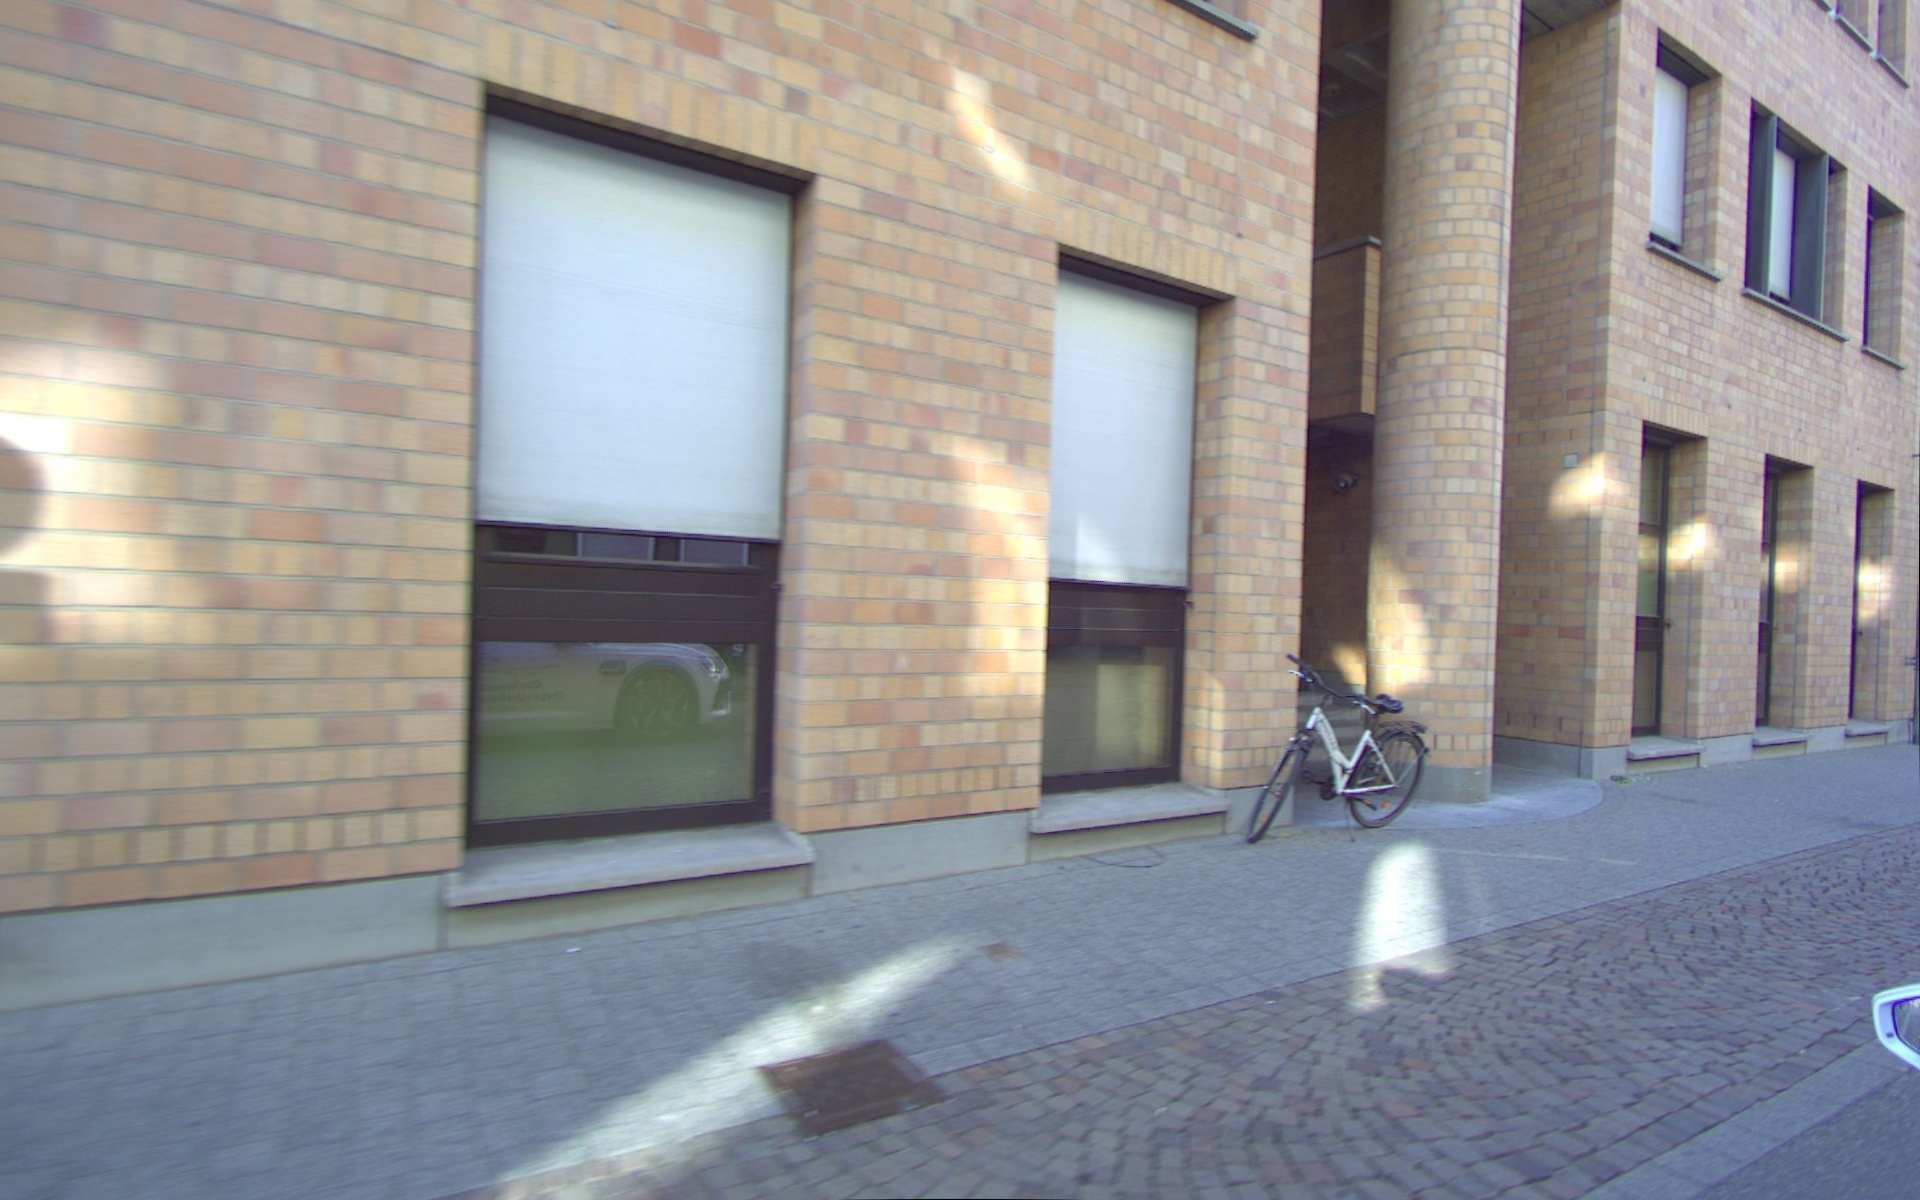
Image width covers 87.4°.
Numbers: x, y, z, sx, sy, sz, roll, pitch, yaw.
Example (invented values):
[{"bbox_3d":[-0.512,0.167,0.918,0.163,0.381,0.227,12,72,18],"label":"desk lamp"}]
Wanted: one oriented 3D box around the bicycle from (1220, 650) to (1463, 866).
[{"bbox_3d":[2.558,0.959,6.637,1.789,1.178,0.626,2,3,-40],"label":"bicycle"}]
